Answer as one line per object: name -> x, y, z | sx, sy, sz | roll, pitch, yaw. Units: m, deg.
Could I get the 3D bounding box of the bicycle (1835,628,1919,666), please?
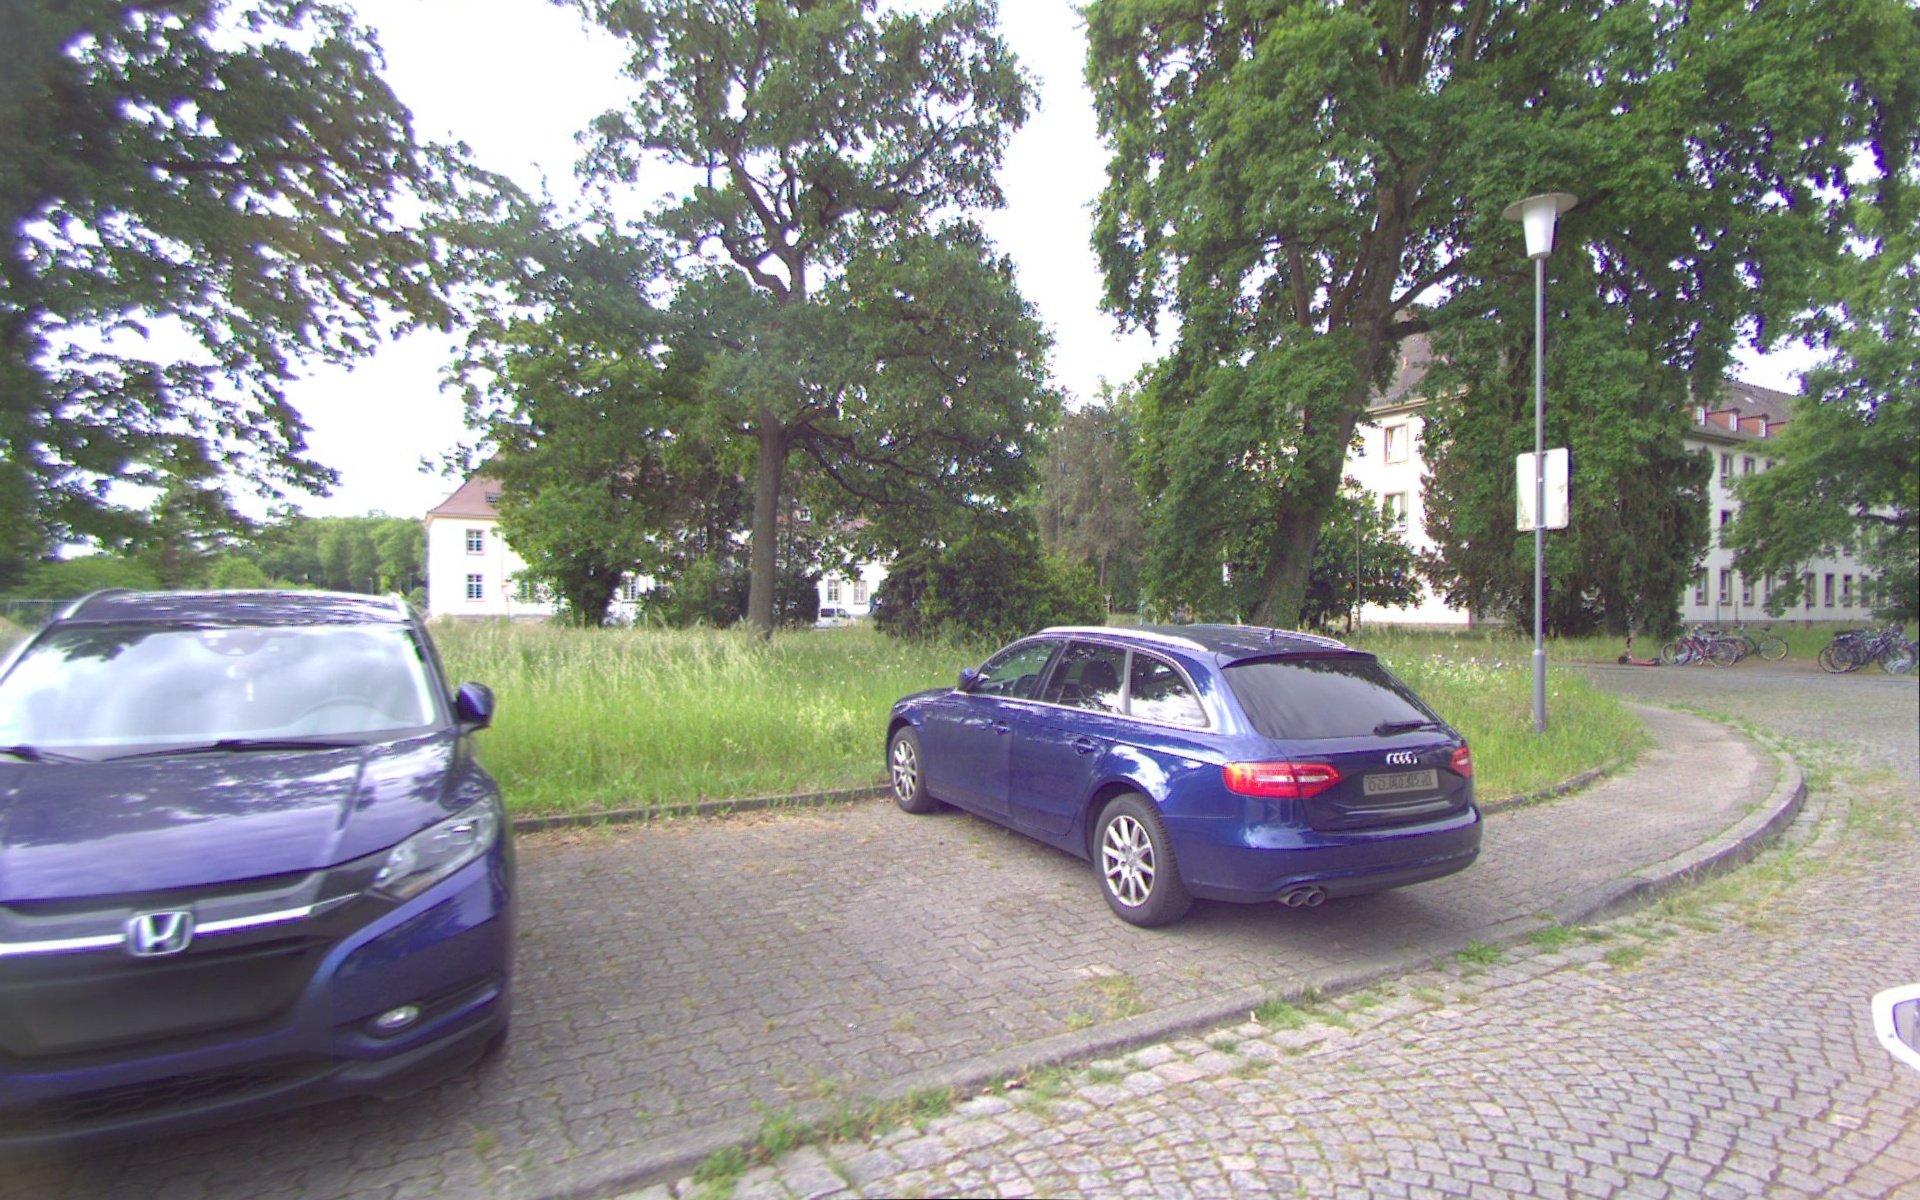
bicycle -> 25.136, 1.264, 27.358 | 1.933, 1.002, 0.624 | -1, -1, 38

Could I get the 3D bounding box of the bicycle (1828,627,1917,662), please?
bicycle -> 27.632, 1.333, 30.457 | 1.933, 1.002, 0.624 | -1, -1, 38

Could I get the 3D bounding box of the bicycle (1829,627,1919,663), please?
bicycle -> 27.139, 1.320, 29.874 | 1.933, 1.002, 0.624 | -1, -1, 38

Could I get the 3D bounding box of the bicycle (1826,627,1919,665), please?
bicycle -> 25.541, 1.281, 28.111 | 1.933, 1.002, 0.624 | -1, -1, 38

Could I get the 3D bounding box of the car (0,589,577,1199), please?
car -> -2.949, 0.757, 4.191 | 1.865, 1.598, 4.207 | 0, 1, -30

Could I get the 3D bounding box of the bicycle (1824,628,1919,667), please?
bicycle -> 24.415, 1.253, 26.874 | 1.933, 1.002, 0.624 | -1, -1, 38

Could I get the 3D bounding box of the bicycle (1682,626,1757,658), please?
bicycle -> 25.307, 1.392, 33.509 | 1.937, 1.002, 0.623 | -1, -1, 44

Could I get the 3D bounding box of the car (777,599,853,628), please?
car -> -10.484, 0.969, 72.771 | 5.163, 2.040, 1.986 | 1, -1, -27

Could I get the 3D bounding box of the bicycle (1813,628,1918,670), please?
bicycle -> 22.774, 1.217, 25.303 | 1.935, 1.002, 0.624 | -1, -1, 41

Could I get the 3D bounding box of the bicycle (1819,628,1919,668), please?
bicycle -> 23.928, 1.244, 26.475 | 1.933, 1.002, 0.624 | -1, -1, 38

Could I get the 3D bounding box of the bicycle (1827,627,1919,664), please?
bicycle -> 25.952, 1.290, 28.557 | 1.933, 1.002, 0.624 | -1, -1, 38

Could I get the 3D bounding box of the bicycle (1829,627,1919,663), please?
bicycle -> 26.749, 1.310, 29.416 | 1.933, 1.002, 0.624 | -1, -1, 38

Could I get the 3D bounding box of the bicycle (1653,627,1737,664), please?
bicycle -> 21.107, 1.289, 28.885 | 1.931, 1.002, 0.625 | -1, -1, 34

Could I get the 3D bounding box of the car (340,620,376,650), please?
car -> -48.599, 2.779, 81.024 | 1.981, 2.229, 4.986 | 0, 0, -37

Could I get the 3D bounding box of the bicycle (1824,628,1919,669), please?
bicycle -> 23.318, 1.224, 25.592 | 1.933, 1.002, 0.624 | -1, -1, 38

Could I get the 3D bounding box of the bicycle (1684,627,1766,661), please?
bicycle -> 23.798, 1.344, 31.262 | 0.622, 1.002, 1.942 | 0, -1, -39

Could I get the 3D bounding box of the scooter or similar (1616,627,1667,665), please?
scooter or similar -> 19.902, 1.338, 29.346 | 0.445, 1.052, 1.351 | 0, -1, -8

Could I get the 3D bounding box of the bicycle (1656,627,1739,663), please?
bicycle -> 21.462, 1.297, 29.243 | 1.933, 1.002, 0.624 | -1, -1, 39

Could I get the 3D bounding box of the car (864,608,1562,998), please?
car -> 1.104, 0.830, 6.364 | 1.950, 1.480, 4.285 | 0, 1, -28

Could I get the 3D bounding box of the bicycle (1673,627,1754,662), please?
bicycle -> 22.760, 1.324, 30.386 | 1.931, 1.002, 0.625 | -1, -1, 34

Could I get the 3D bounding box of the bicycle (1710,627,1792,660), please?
bicycle -> 24.794, 1.351, 31.517 | 0.622, 1.002, 1.942 | 0, -1, -39
